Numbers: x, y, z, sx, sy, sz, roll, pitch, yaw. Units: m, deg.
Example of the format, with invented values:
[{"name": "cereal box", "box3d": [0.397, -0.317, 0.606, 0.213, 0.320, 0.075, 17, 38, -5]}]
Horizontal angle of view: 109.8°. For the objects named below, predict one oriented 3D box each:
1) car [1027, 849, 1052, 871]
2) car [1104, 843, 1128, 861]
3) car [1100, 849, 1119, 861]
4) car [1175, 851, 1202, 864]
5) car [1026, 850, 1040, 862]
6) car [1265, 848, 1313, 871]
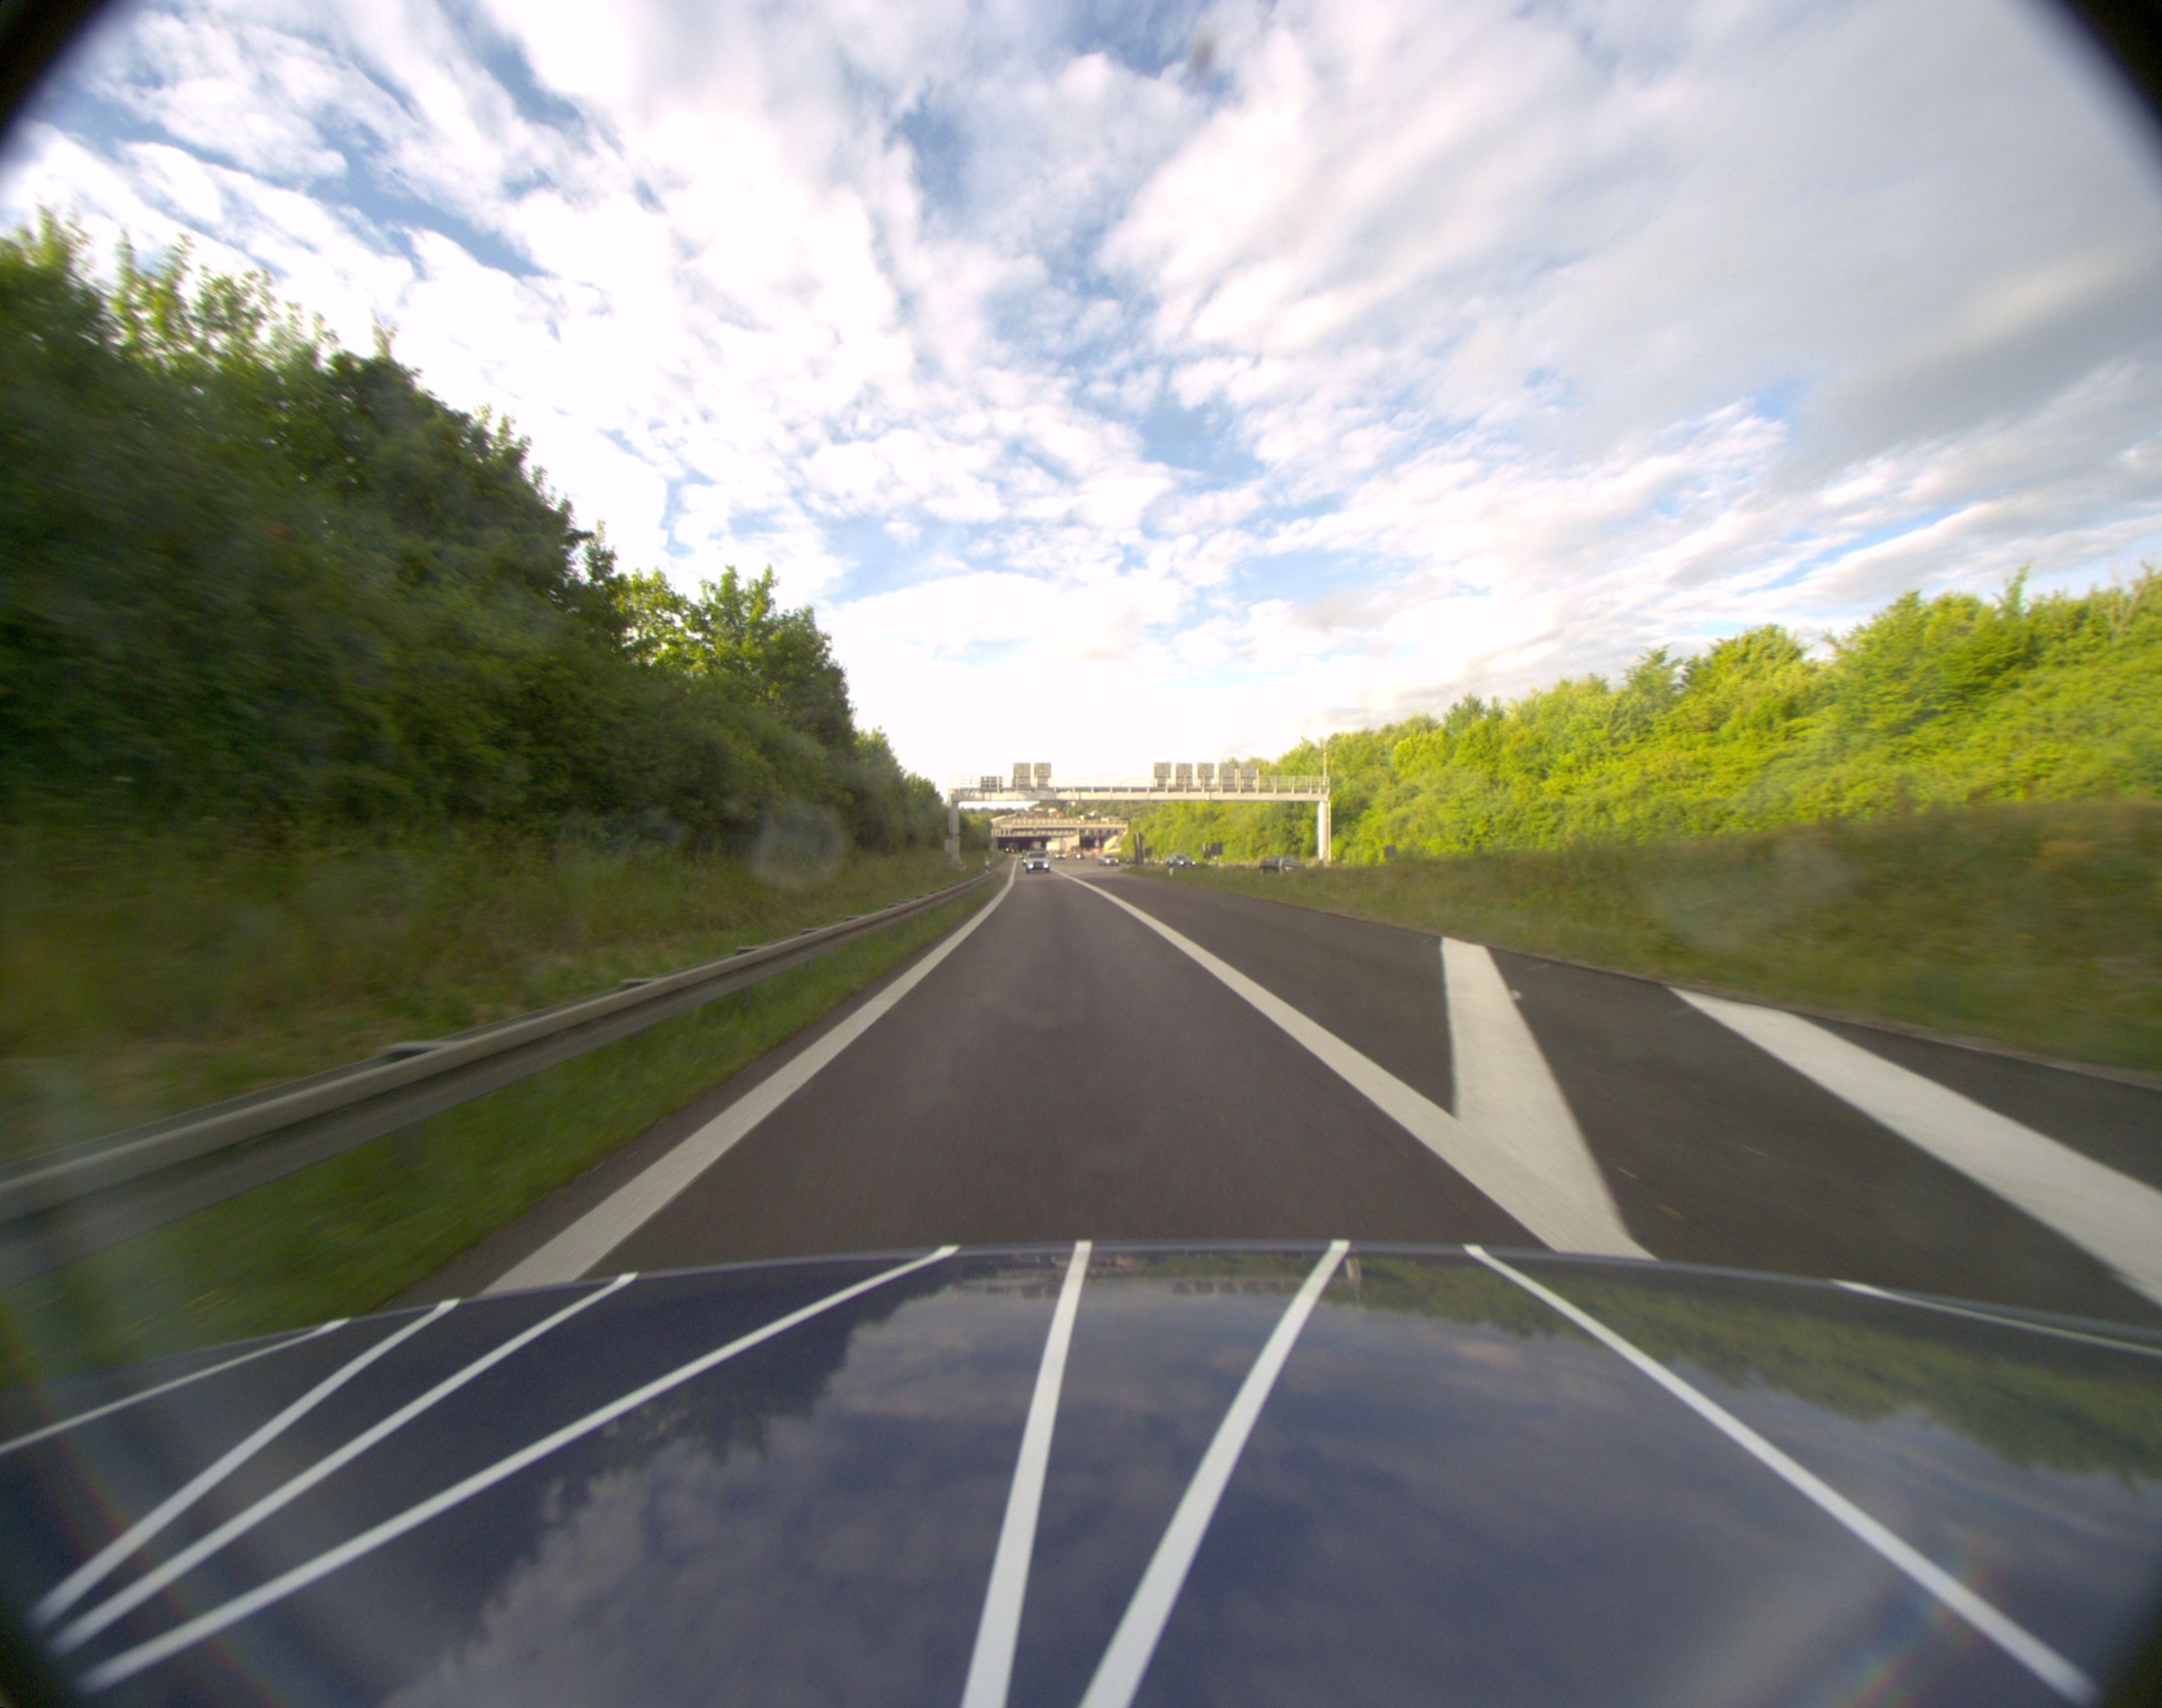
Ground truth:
[{"name": "car", "box3d": [-3.384, 0.437, 62.531, 1.905, 1.655, 3.998, -2, 1, -2]}, {"name": "car", "box3d": [3.987, -0.215, 87.302, 1.866, 2.002, 3.996, -3, 0, -10]}, {"name": "car", "box3d": [3.447, 0.092, 91.503, 1.798, 1.284, 3.998, -1, 1, -5]}, {"name": "car", "box3d": [11.025, 0.338, 77.949, 1.881, 1.284, 3.998, -2, 1, -5]}, {"name": "car", "box3d": [-6.195, 0.204, 98.045, 1.620, 1.451, 3.661, -2, 0, -3]}, {"name": "car", "box3d": [13.510, 0.311, 49.479, 1.763, 1.398, 3.998, -1, 1, -5]}]
